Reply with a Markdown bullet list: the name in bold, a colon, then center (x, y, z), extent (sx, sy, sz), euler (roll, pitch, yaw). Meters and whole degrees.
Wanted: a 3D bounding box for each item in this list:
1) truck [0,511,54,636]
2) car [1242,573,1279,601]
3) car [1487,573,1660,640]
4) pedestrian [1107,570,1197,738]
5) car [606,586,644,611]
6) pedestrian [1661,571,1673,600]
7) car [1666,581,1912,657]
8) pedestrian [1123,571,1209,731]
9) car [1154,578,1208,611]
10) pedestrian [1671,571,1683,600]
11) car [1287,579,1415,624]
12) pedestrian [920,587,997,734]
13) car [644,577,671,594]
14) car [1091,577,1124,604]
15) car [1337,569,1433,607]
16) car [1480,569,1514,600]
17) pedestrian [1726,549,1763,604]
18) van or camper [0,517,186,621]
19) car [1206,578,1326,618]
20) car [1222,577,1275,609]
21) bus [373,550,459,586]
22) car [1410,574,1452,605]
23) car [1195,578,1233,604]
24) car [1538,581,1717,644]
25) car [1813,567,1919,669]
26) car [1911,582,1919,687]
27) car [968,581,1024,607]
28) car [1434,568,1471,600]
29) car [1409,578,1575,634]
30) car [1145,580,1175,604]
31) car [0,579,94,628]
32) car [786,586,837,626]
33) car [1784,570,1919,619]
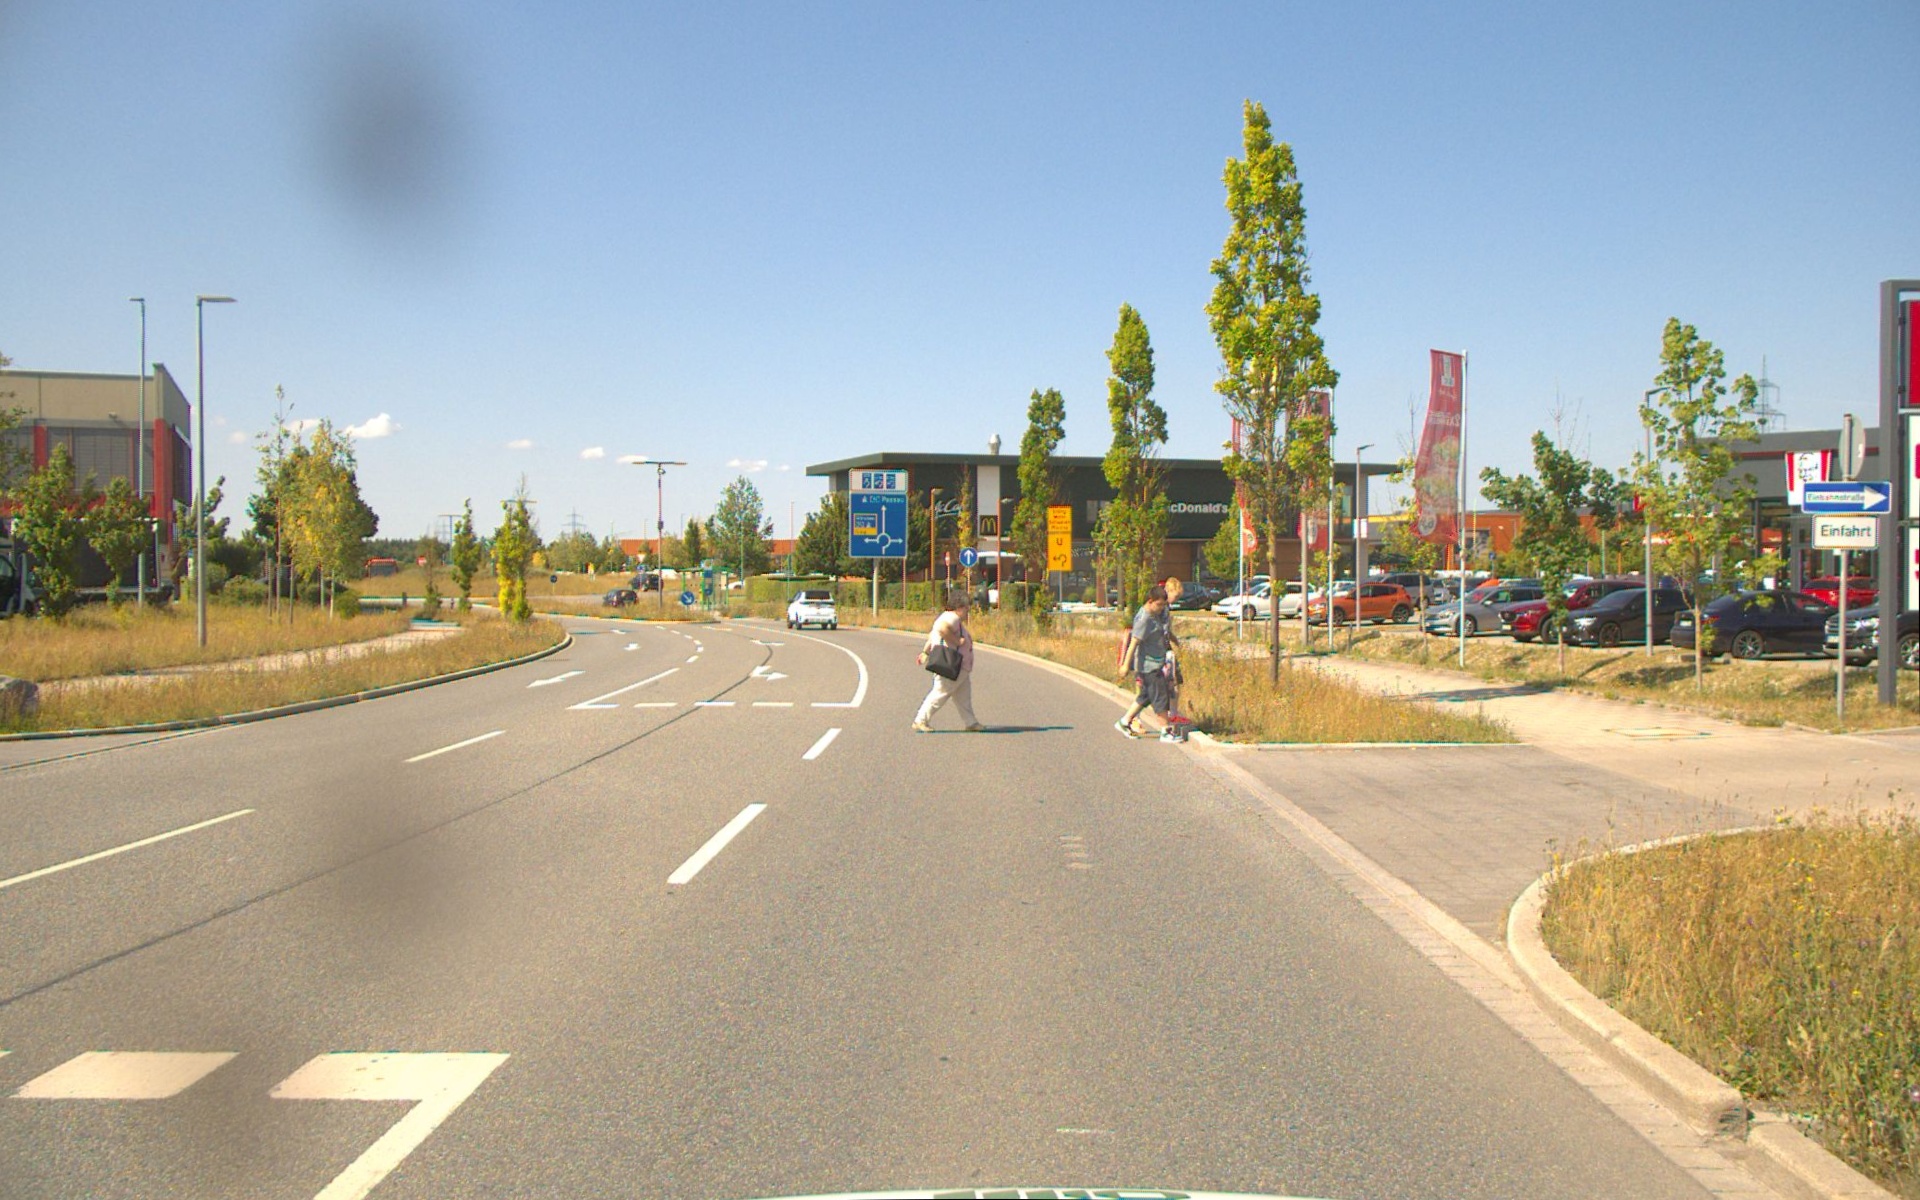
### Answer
- **truck**: center (-28.442, -0.729, 45.100), extent (2.267, 3.525, 7.501), euler (0, 0, 11)
- **car**: center (19.228, -0.867, 105.597), extent (1.755, 1.731, 4.002), euler (-1, 1, 18)
- **car**: center (16.814, 0.153, 45.398), extent (4.076, 1.694, 1.865), euler (-1, 1, -9)
- **pedestrian**: center (1.935, 0.534, 16.775), extent (0.792, 1.657, 0.866), euler (0, 0, -2)
- **car**: center (-19.775, -0.104, 97.502), extent (1.593, 1.459, 3.768), euler (0, 1, -21)
- **pedestrian**: center (30.408, -0.632, 71.184), extent (0.374, 1.262, 0.290), euler (-1, 0, -24)
- **car**: center (17.556, 0.382, 35.179), extent (4.313, 1.474, 1.792), euler (-1, 1, 5)
- **pedestrian**: center (2.182, 0.526, 17.597), extent (0.785, 1.658, 0.804), euler (0, 0, -2)
- **car**: center (10.357, -0.278, 77.401), extent (1.662, 1.487, 4.170), euler (0, 1, 20)
- **pedestrian**: center (31.052, -0.636, 71.640), extent (0.374, 1.262, 0.290), euler (-1, 0, -24)
- **car**: center (14.121, 0.031, 59.781), extent (4.136, 1.516, 1.861), euler (-1, 1, -16)
- **pedestrian**: center (-0.024, 0.615, 17.357), extent (0.777, 1.495, 0.949), euler (0, 0, -2)
- **car**: center (-26.754, -1.265, 146.035), extent (1.961, 1.465, 3.982), euler (-1, 1, -16)
- **car**: center (9.075, -0.591, 101.507), extent (1.754, 1.632, 4.003), euler (-1, 1, 8)
- **car**: center (19.639, -0.562, 76.421), extent (4.101, 1.664, 1.778), euler (-1, 1, -24)
- **car**: center (31.788, -0.937, 97.795), extent (1.748, 1.788, 4.170), euler (0, 1, 20)
- **pedestrian**: center (29.497, -0.894, 62.210), extent (0.899, 2.049, 0.886), euler (-1, 0, -19)
- **van or camper**: center (-31.385, -1.084, 57.724), extent (7.571, 3.529, 2.543), euler (0, 0, -18)
- **car**: center (12.403, -0.091, 67.076), extent (4.452, 1.516, 1.861), euler (-1, 1, -16)
- **car**: center (13.799, -0.347, 78.917), extent (1.748, 1.487, 4.170), euler (0, 1, 20)
- **bus**: center (-52.717, -3.167, 160.753), extent (2.727, 3.132, 12.217), euler (-1, 3, 8)
- **car**: center (23.669, -0.538, 83.059), extent (1.748, 1.476, 4.170), euler (0, 1, 20)
- **car**: center (15.939, -0.572, 103.748), extent (1.755, 1.539, 4.002), euler (-1, 1, 17)
- **car**: center (17.330, 0.306, 42.987), extent (4.084, 1.474, 1.785), euler (-1, 1, -15)
- **car**: center (18.355, 0.280, 30.566), extent (4.320, 1.765, 1.790), euler (-1, 1, -5)
- **car**: center (18.469, 0.540, 27.913), extent (4.338, 1.765, 1.782), euler (-2, 1, -18)
- **car**: center (2.051, -0.353, 95.448), extent (1.768, 1.459, 3.972), euler (-1, 1, -23)
- **car**: center (28.067, -0.912, 94.139), extent (1.748, 1.788, 4.170), euler (0, 1, 20)
- **car**: center (16.067, 0.159, 50.043), extent (4.475, 1.516, 1.863), euler (-1, 1, -12)
- **car**: center (12.417, -0.524, 102.553), extent (1.754, 1.459, 4.003), euler (-1, 1, 8)
- **car**: center (-30.692, 0.108, 53.683), extent (4.300, 1.579, 1.828), euler (0, 0, -18)
- **car**: center (-5.612, 0.202, 62.274), extent (1.587, 1.459, 3.783), euler (0, 0, -10)
- **car**: center (29.615, -0.207, 54.649), extent (4.494, 1.456, 1.855), euler (-2, 1, -24)
